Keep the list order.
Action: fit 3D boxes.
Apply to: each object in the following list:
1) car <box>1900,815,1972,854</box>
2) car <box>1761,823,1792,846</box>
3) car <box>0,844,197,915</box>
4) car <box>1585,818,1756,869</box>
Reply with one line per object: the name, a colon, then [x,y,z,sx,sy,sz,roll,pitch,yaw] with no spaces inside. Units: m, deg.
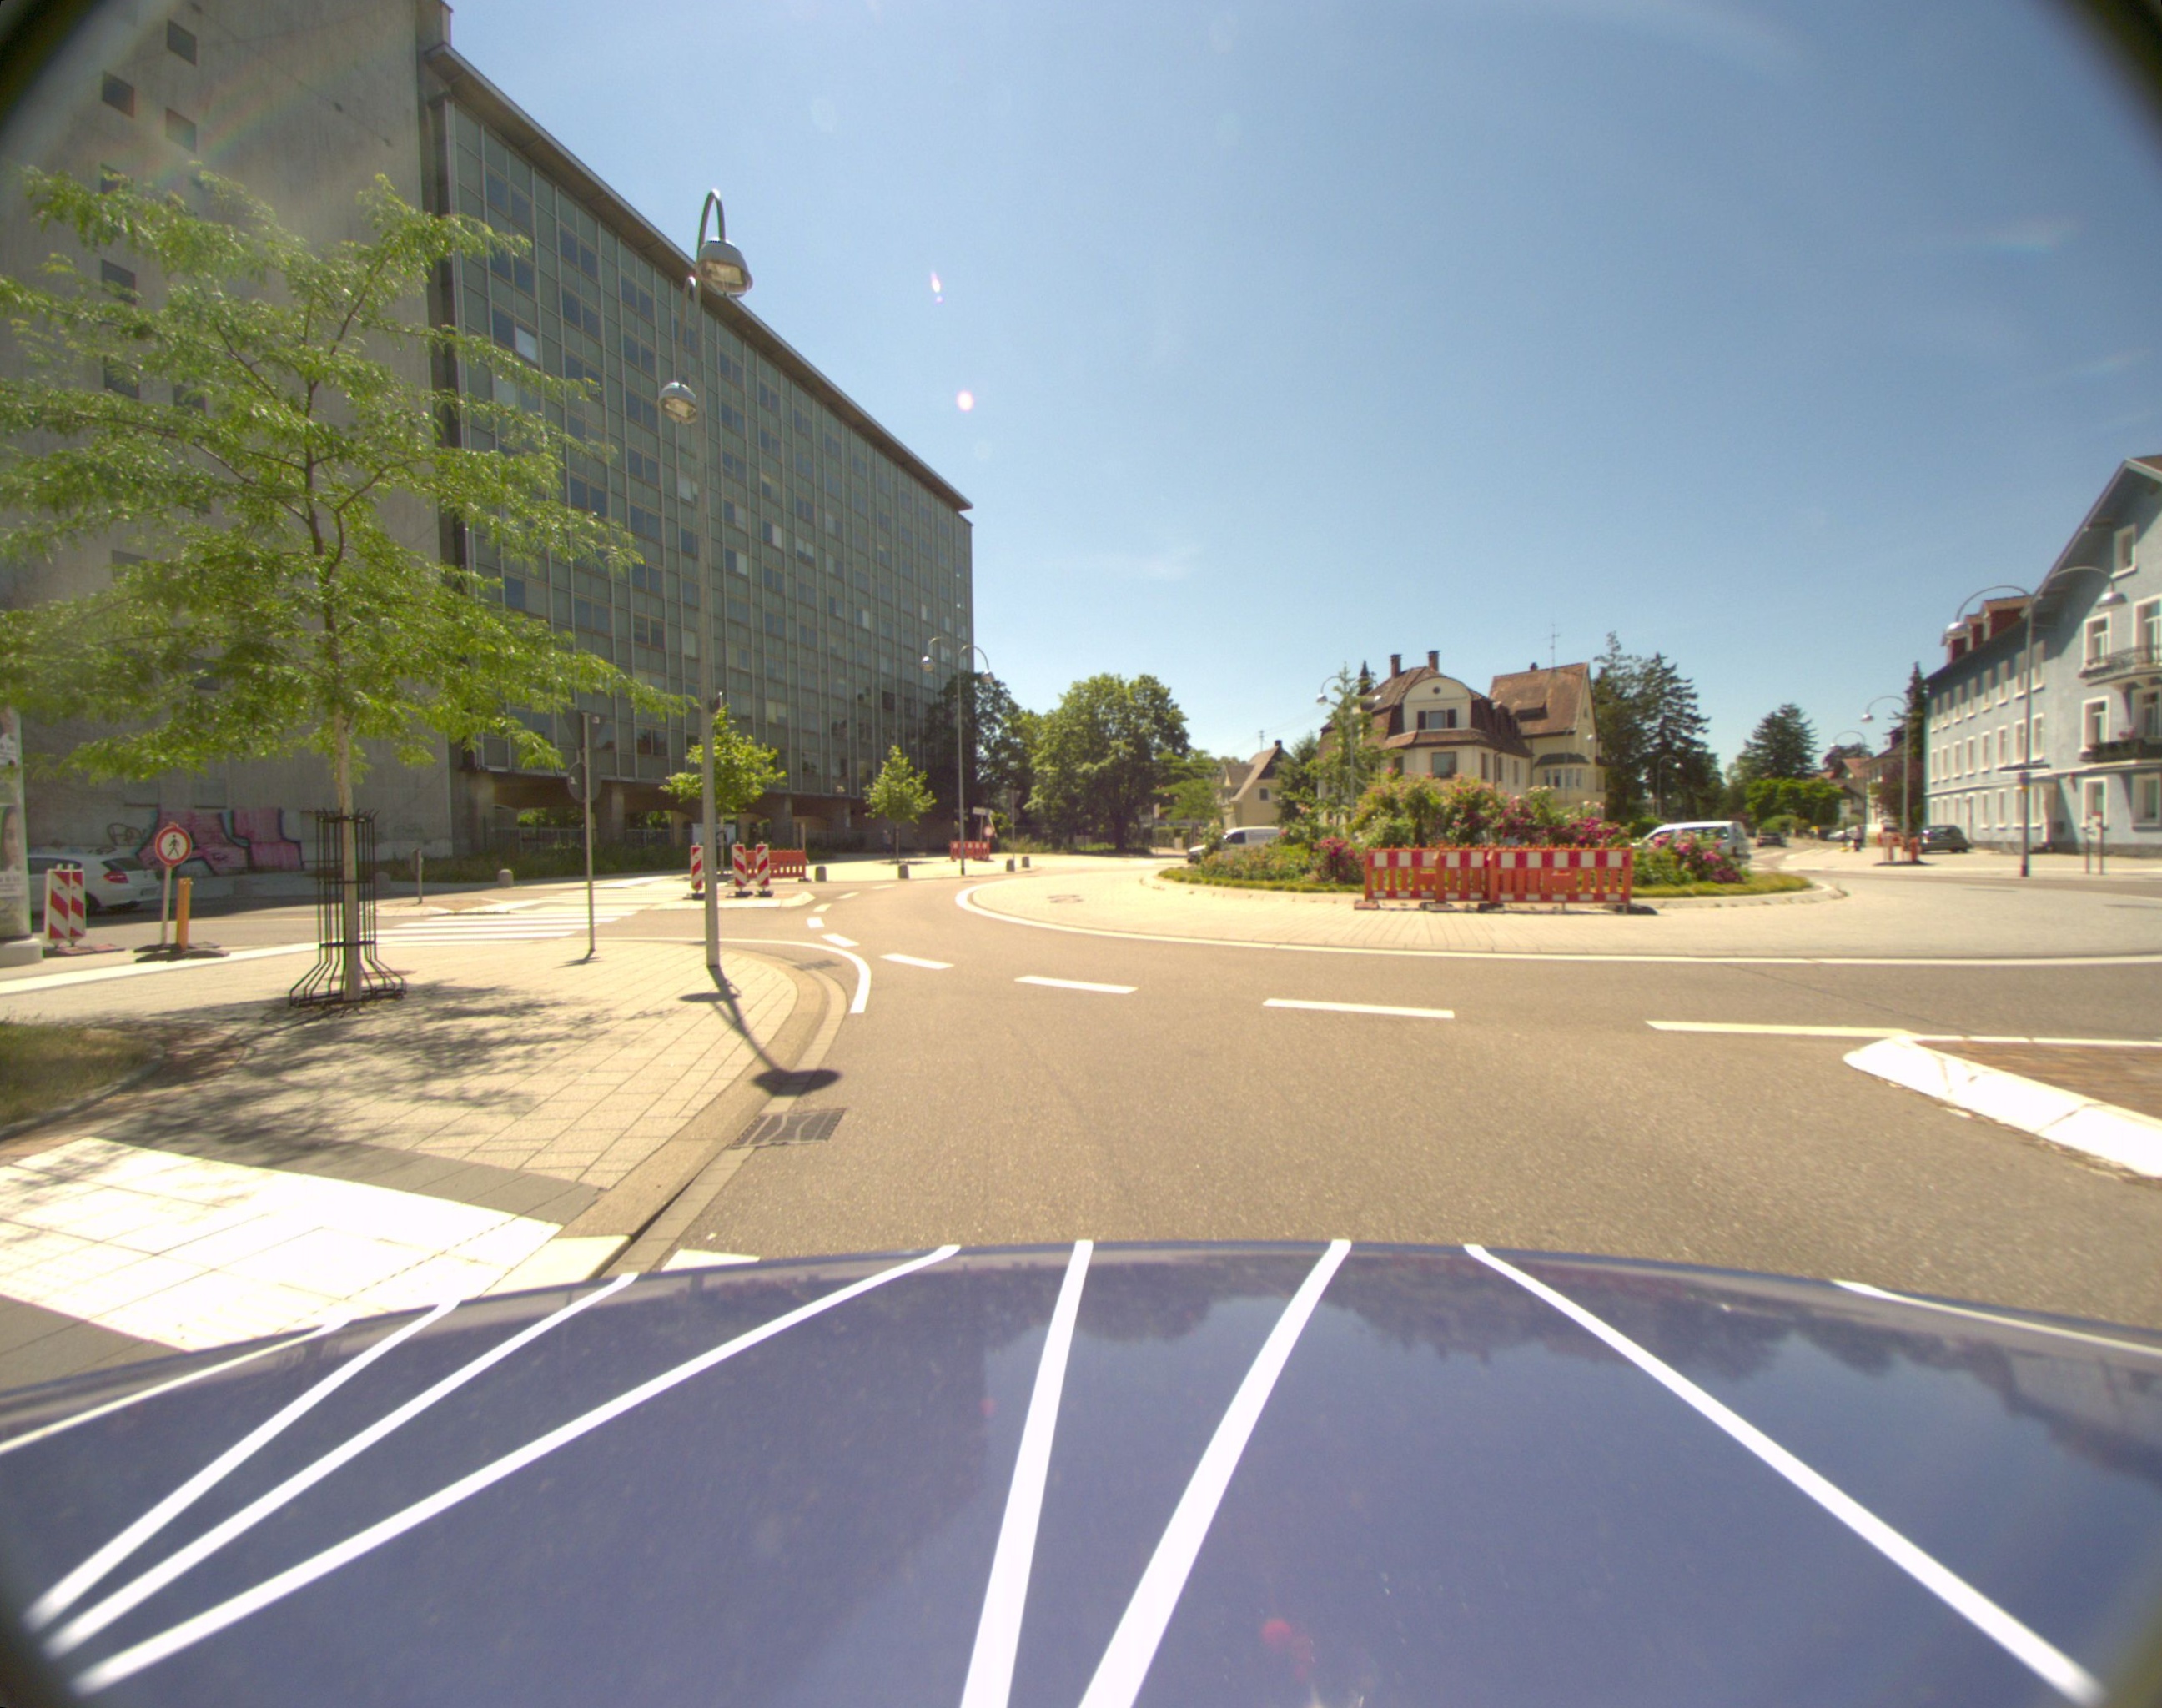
car: [45.483,-1.068,40.529,1.994,1.838,4.006,0,4,40]
car: [63.471,-1.798,69.393,1.994,1.838,4.006,0,4,40]
car: [-23.484,0.566,17.062,4.262,1.450,1.905,-2,2,-28]
car: [21.546,-0.417,27.998,2.003,1.728,4.555,-2,2,-32]
